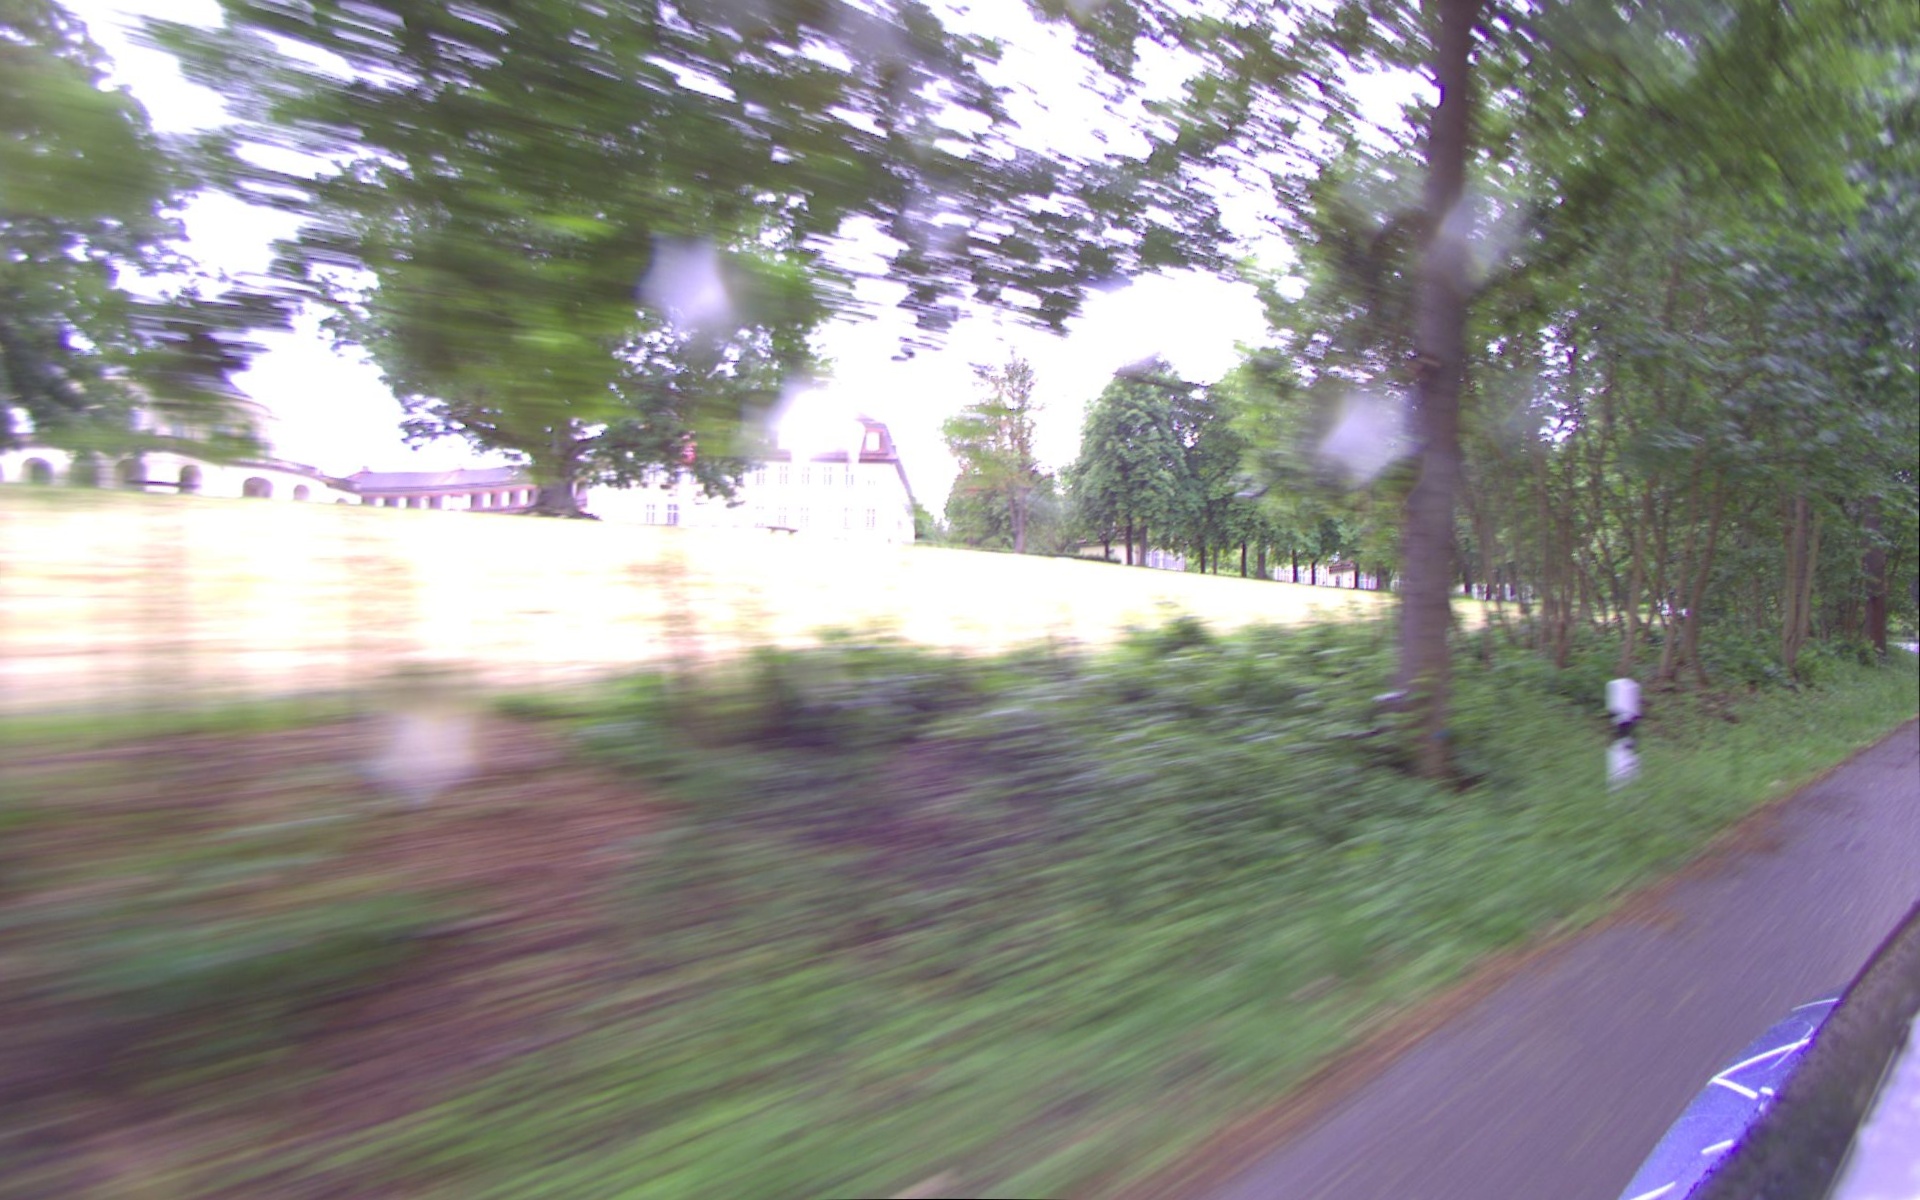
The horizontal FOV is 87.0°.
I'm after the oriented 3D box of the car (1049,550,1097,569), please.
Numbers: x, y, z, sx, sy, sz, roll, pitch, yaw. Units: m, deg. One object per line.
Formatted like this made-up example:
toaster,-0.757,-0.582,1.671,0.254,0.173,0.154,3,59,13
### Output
car,10.807,-3.900,97.089,4.209,1.445,2.003,4,1,-6
